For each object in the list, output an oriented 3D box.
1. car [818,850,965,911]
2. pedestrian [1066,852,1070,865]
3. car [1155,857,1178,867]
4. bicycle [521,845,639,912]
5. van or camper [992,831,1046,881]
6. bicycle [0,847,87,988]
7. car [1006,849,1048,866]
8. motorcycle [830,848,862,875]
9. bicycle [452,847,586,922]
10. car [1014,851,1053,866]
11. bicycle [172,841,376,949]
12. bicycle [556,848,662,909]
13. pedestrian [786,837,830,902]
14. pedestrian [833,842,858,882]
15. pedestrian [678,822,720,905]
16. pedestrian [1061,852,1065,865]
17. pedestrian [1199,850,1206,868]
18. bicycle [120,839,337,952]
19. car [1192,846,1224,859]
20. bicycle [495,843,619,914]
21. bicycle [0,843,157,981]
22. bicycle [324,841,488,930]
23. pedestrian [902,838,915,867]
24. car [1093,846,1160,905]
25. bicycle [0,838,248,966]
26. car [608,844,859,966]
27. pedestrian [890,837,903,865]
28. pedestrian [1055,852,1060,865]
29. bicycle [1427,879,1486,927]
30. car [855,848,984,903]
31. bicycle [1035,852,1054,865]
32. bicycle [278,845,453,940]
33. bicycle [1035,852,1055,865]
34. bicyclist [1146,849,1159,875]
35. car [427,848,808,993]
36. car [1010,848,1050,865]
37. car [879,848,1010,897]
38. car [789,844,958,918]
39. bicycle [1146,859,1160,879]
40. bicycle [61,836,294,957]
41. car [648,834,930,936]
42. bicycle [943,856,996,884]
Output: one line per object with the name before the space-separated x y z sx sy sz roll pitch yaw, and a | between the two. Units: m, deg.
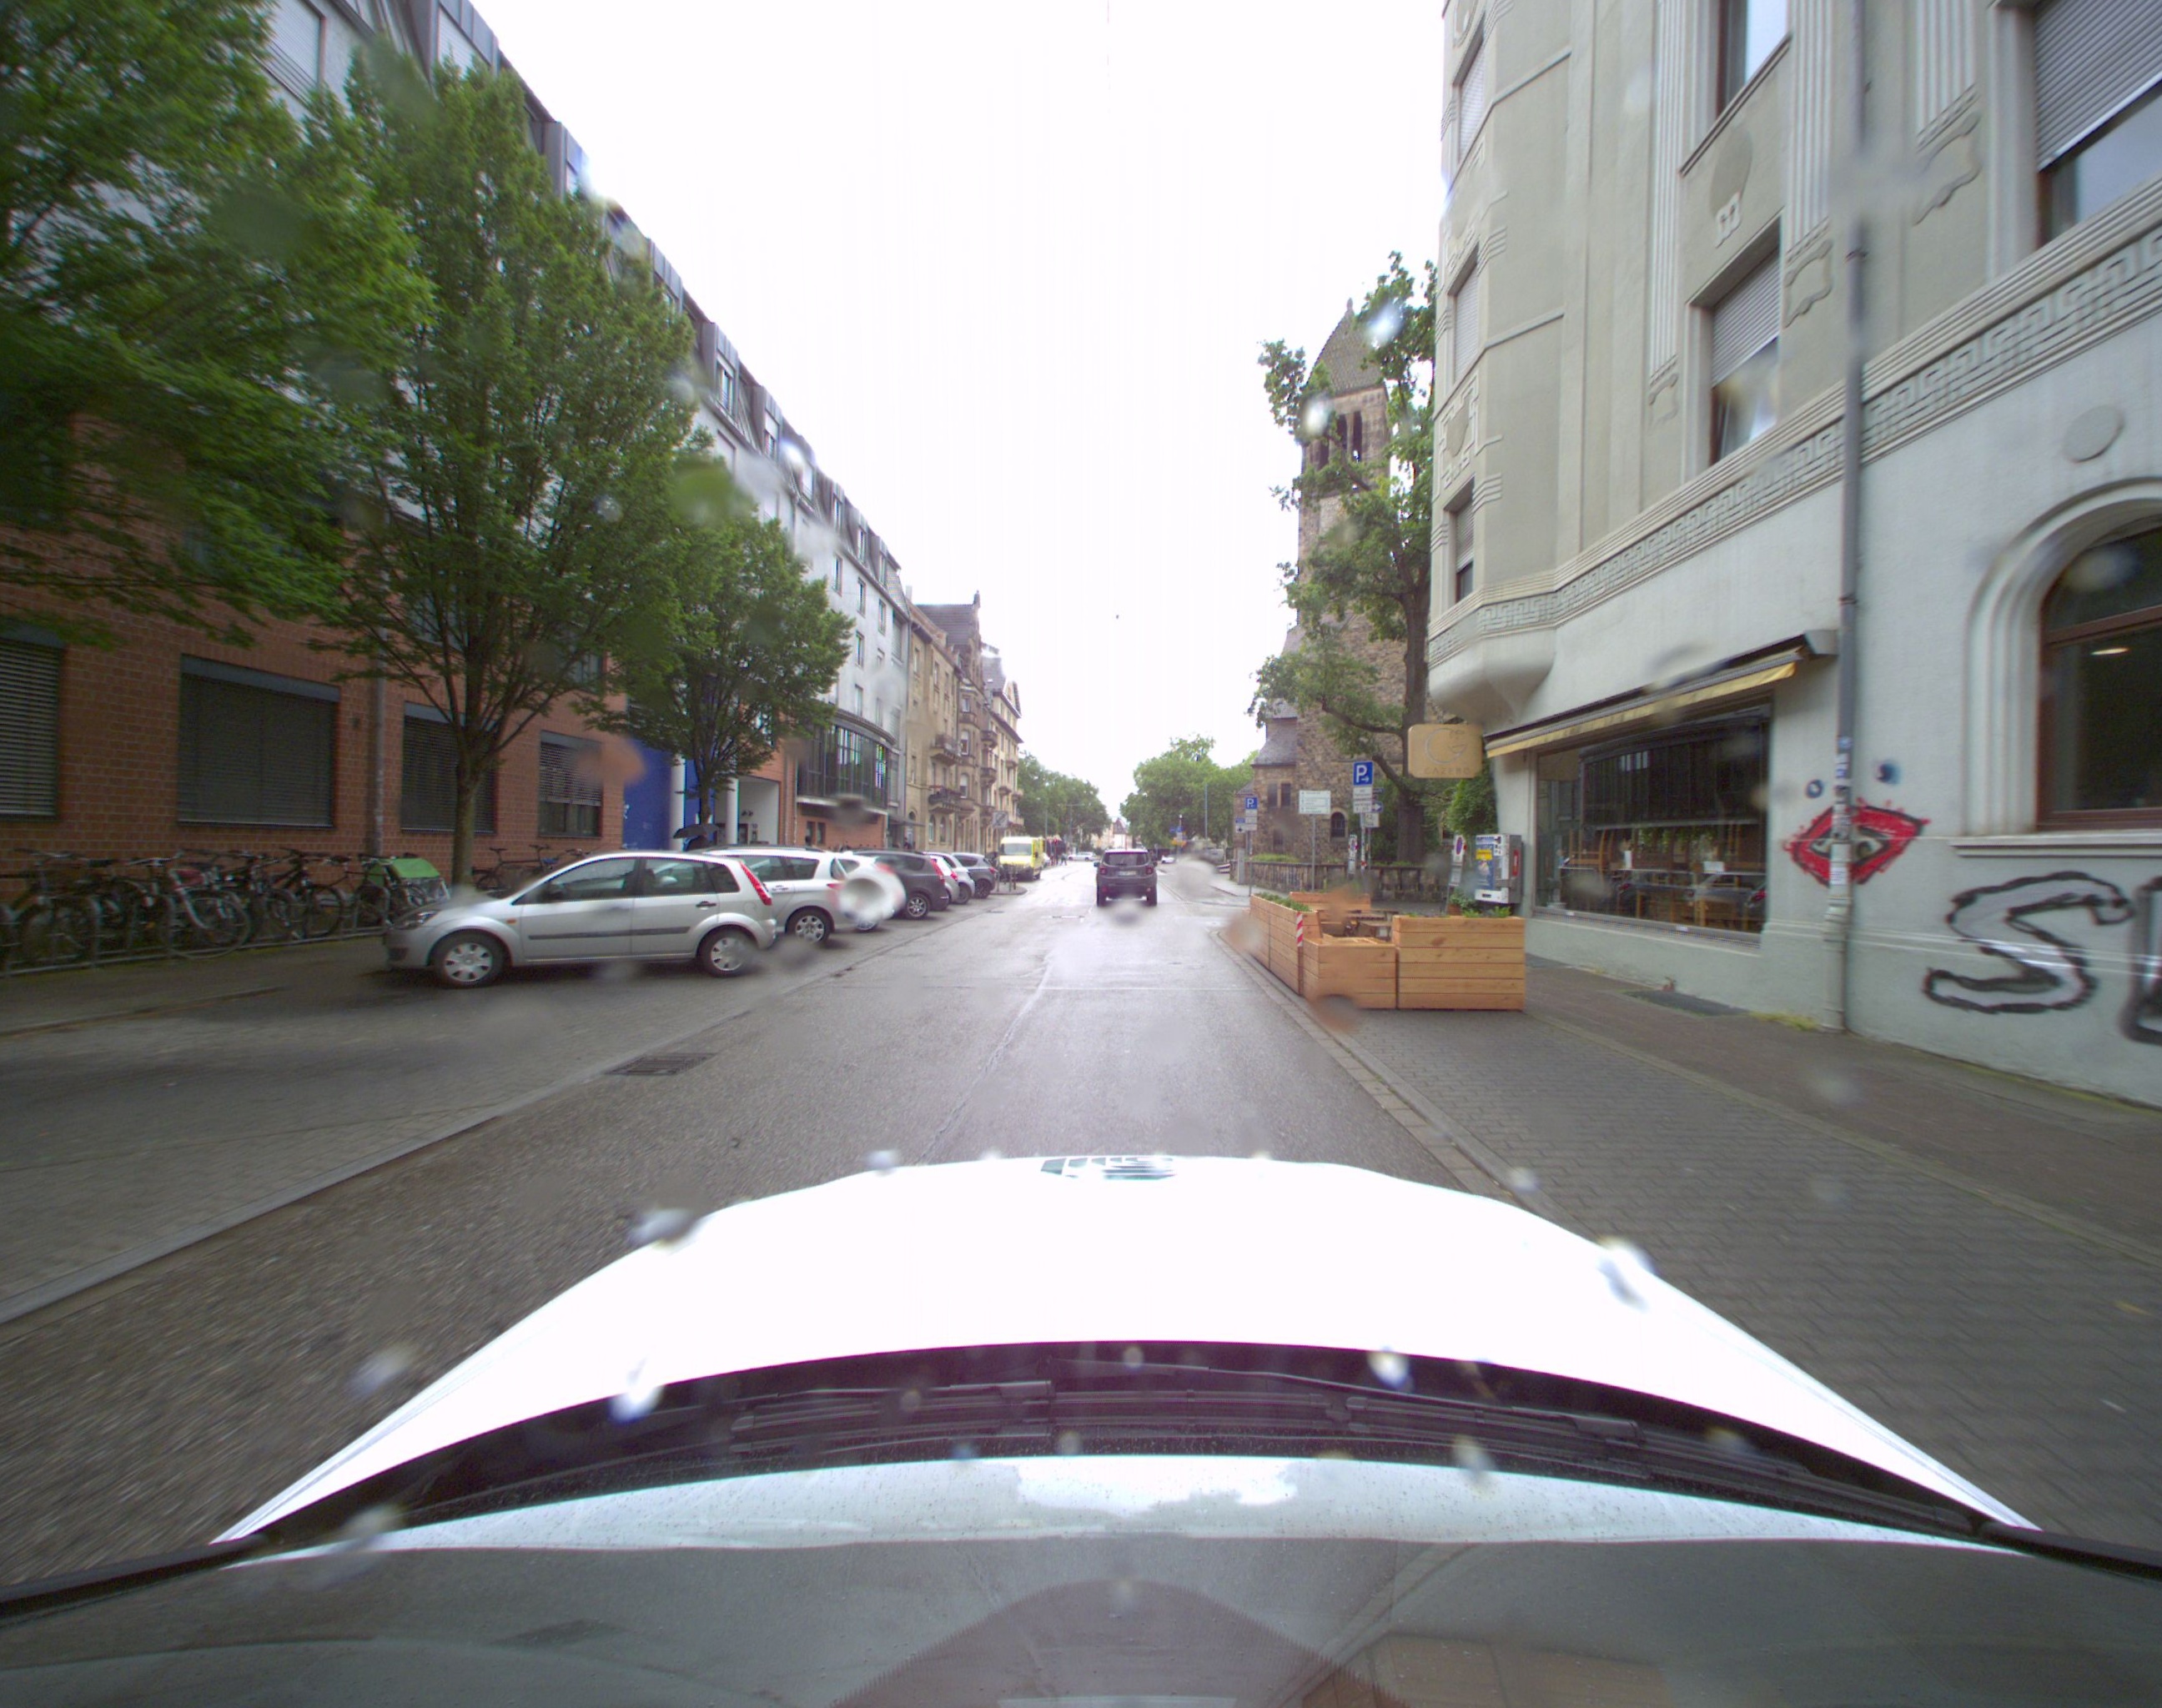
car | -4.966 0.678 21.399 3.397 1.458 1.664 1 0 -31
pedestrian | -1.536 0.572 97.676 0.466 1.585 0.752 0 0 2
car | 12.713 1.140 121.072 3.161 1.501 1.549 0 0 20
bicycle | -9.901 0.476 16.123 1.889 1.152 0.554 5 0 0
van or camper | -3.427 0.228 46.511 2.113 2.531 6.878 -3 -2 3
bicycle | -10.198 0.498 7.260 1.889 1.152 0.554 5 0 0
car | -5.184 0.325 77.733 3.518 1.518 1.867 2 -1 -31
motorcycle | -11.076 0.336 38.459 0.750 1.174 2.118 3 0 4
bicycle | -9.924 0.530 14.419 1.889 1.152 0.554 5 0 0
car | -4.705 0.458 80.831 3.434 1.316 1.762 2 -1 -31
bicycle | -10.048 0.493 10.179 1.889 1.152 0.554 5 0 0
bicycle | -10.265 0.521 17.740 1.889 1.152 0.554 5 0 0
pedestrian | -7.583 0.417 22.649 0.820 1.752 0.759 3 0 9
pedestrian | -9.570 0.321 33.046 0.704 1.551 0.609 3 0 9
pedestrian | -8.022 0.203 17.095 0.609 1.707 0.433 1 -2 3
pedestrian | -2.157 0.561 97.620 0.466 1.585 0.752 0 0 2
pedestrian | 11.681 0.514 78.340 0.688 1.711 0.685 0 0 3
bicycle | -10.128 0.477 9.709 1.889 1.152 0.554 5 0 0
car | 23.620 -0.327 151.403 5.874 2.334 2.063 0 0 6
bicycle | -9.889 0.455 15.410 1.889 1.152 0.554 5 0 0
bicycle | -10.155 0.514 7.790 1.889 1.152 0.554 5 0 0
bicycle | -10.059 0.459 12.172 1.889 1.152 0.554 5 0 0
pedestrian | -10.540 -0.114 49.651 0.663 1.757 0.791 0 0 -21
car | 1.368 0.607 25.354 1.891 1.670 4.507 0 0 2
bicycle | -10.088 0.491 8.613 1.889 1.152 0.554 5 0 0
car | -5.350 0.677 12.611 3.397 1.654 1.618 0 0 -30
pedestrian | -11.172 -0.207 49.402 0.663 1.675 0.791 0 0 -21
pedestrian | -2.791 0.530 96.837 0.466 1.585 0.660 0 0 2
bicycle | 8.043 1.046 17.517 0.450 0.979 1.921 1 -3 3
car | -4.762 0.620 24.084 3.394 1.507 1.666 1 0 -28
bicycle | -4.089 0.488 91.234 2.098 1.444 0.488 0 0 -18
bicycle | -10.121 0.534 11.548 1.889 1.152 0.554 5 0 0
bicycle | -4.000 0.458 90.236 2.115 1.444 0.536 0 0 -18
bicyclist | 3.990 0.437 45.322 0.702 1.403 1.172 0 0 3
car | -5.421 0.659 9.868 3.727 1.452 1.668 0 0 -33
car | -5.201 0.234 83.478 3.753 1.558 1.656 2 -1 -31
car | -4.510 0.614 26.862 3.840 1.507 1.971 1 0 -28
car | -4.714 0.600 18.525 3.395 1.542 1.665 1 0 -28
bicycle | 3.987 0.838 45.321 0.702 1.054 1.814 0 0 3
bicycle | -10.115 0.460 9.150 1.889 1.152 0.554 5 0 0
car | -5.413 0.614 15.197 4.538 1.539 2.315 5 -2 -30
bicycle | -4.756 0.677 34.909 2.123 1.097 0.594 2 0 3
